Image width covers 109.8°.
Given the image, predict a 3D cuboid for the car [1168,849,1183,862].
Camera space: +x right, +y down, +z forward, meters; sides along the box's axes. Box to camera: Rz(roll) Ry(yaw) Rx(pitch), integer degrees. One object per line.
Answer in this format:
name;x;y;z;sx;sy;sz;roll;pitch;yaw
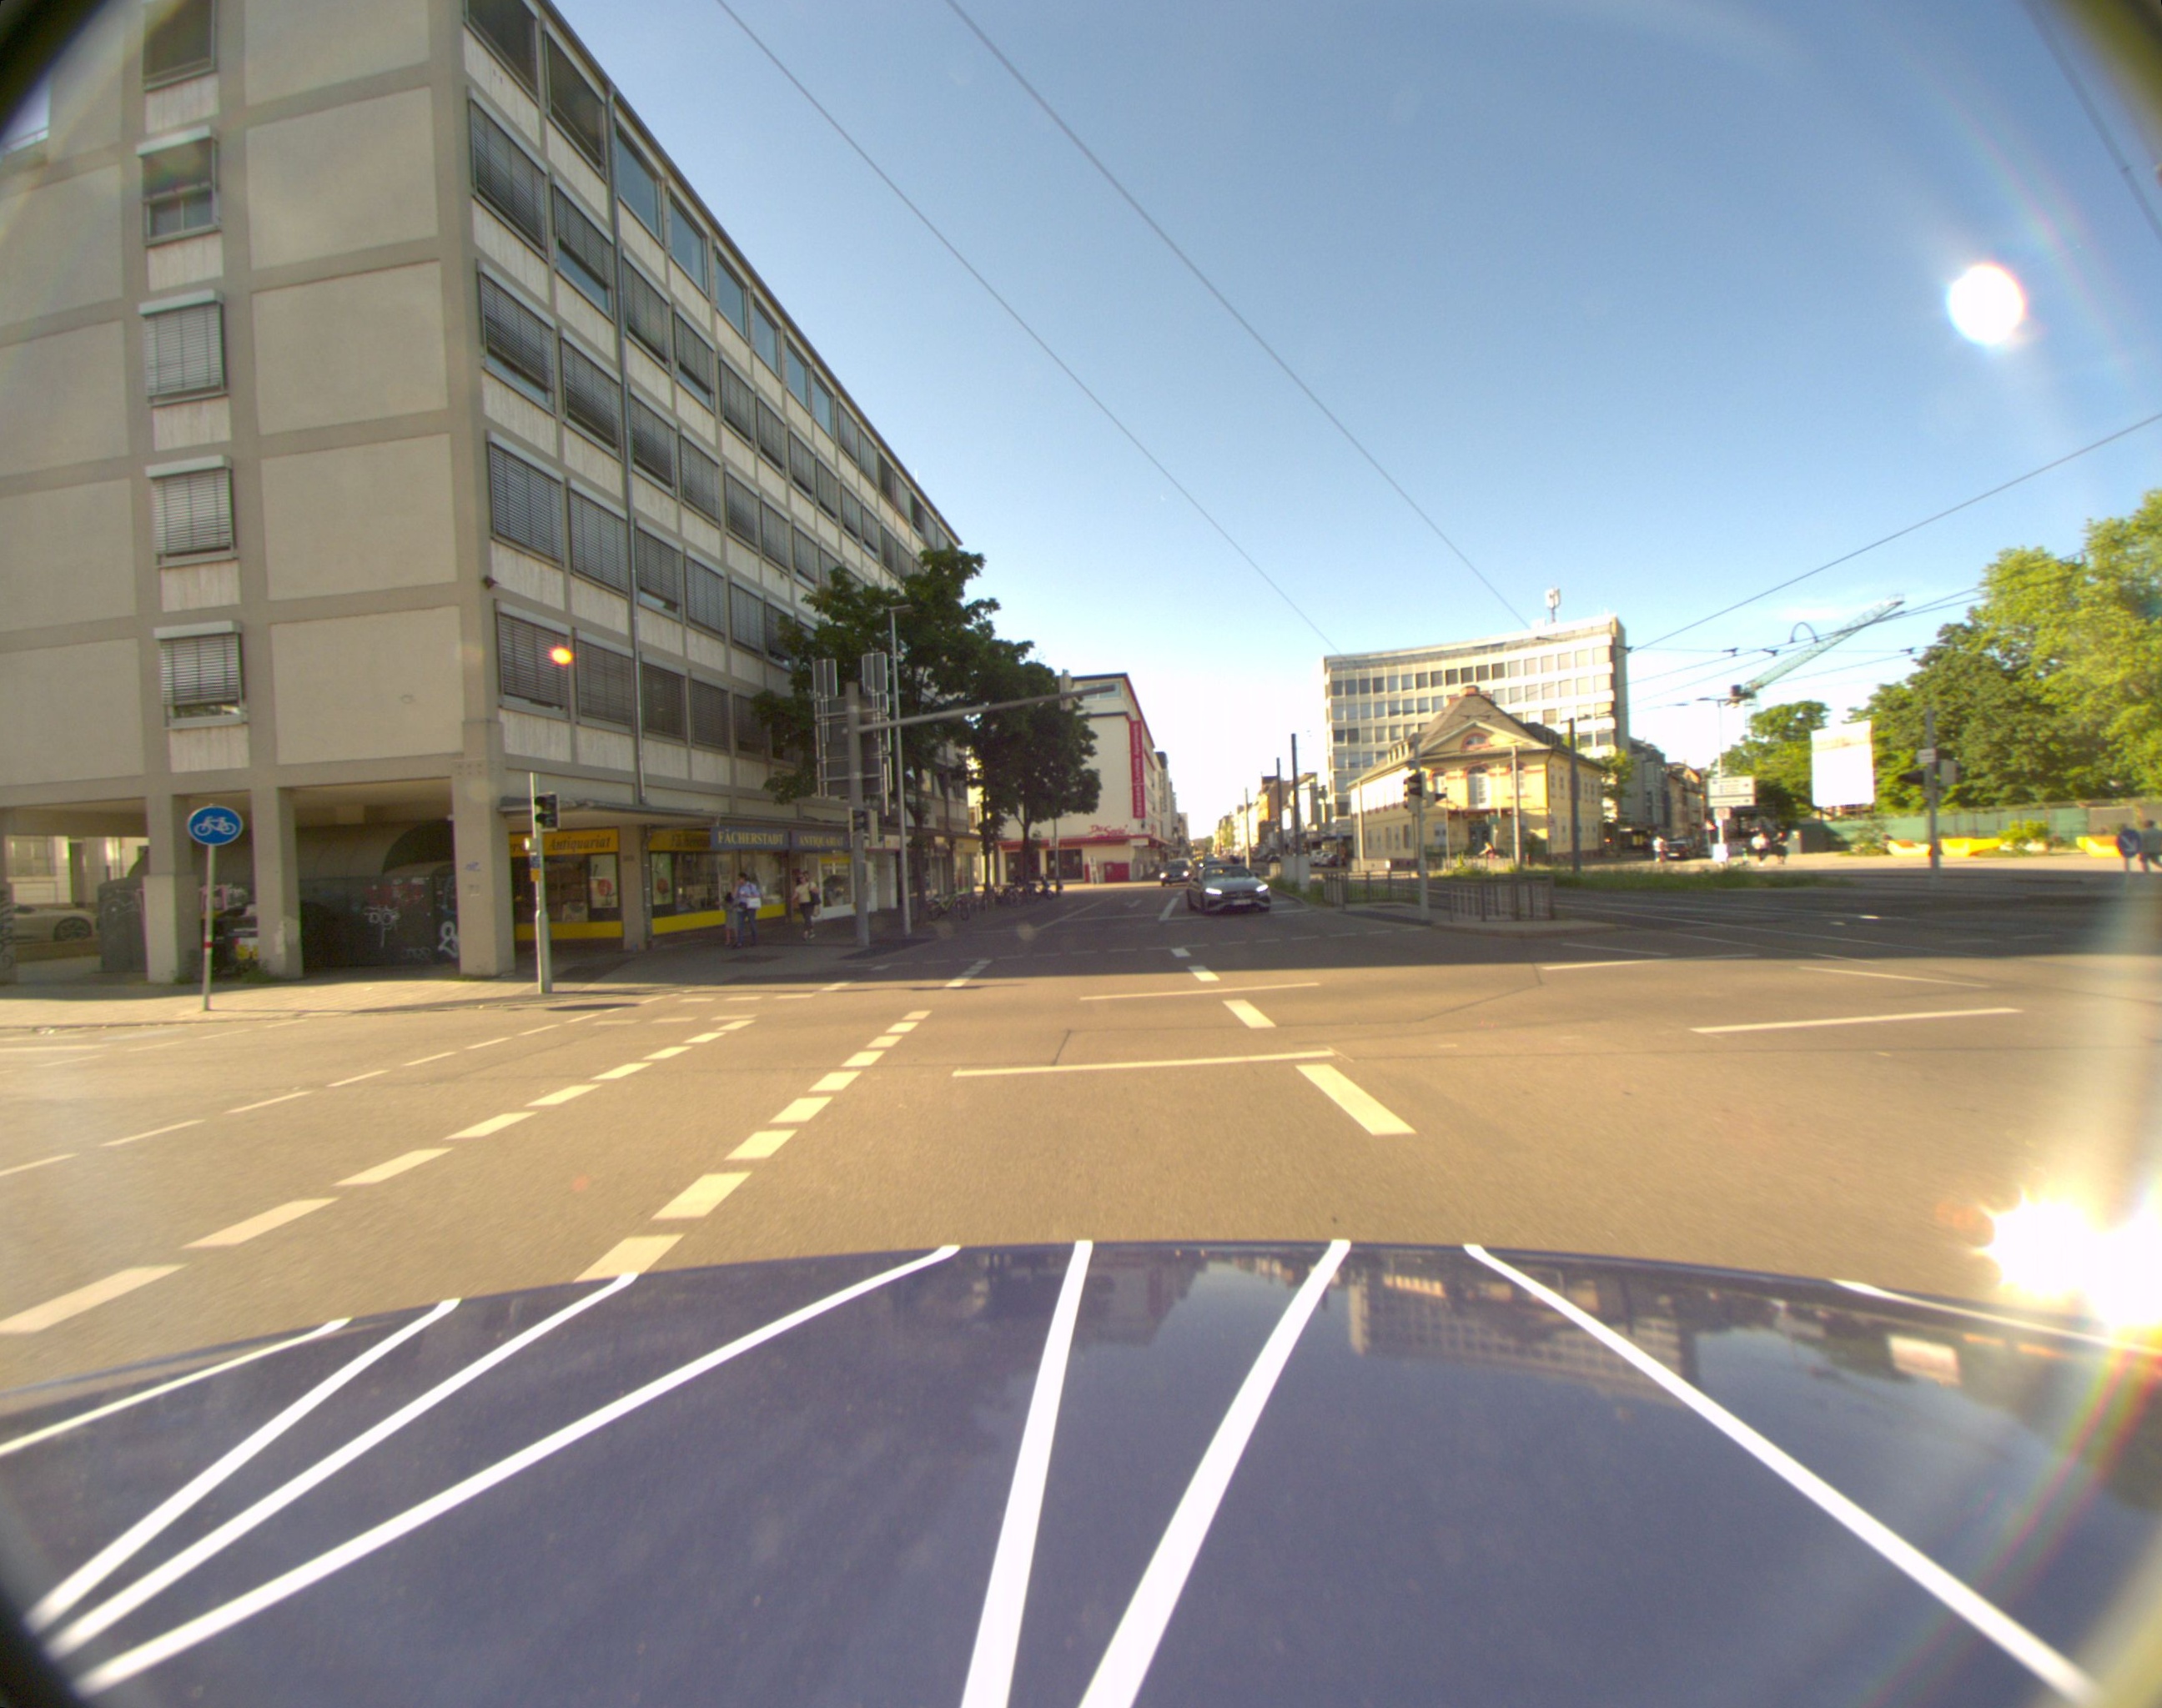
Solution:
car;12.268;0.167;98.407;1.782;1.653;4.166;-1;1;10

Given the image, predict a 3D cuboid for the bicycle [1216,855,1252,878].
bicycle;8.545;0.693;42.559;1.824;1.205;0.642;-3;1;1

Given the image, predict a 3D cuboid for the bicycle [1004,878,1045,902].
bicycle;-2.614;1.669;35.395;1.855;1.050;0.399;-1;1;0

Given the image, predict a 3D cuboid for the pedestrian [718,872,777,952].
pedestrian;-7.606;1.304;17.360;0.879;1.711;0.845;-3;1;0

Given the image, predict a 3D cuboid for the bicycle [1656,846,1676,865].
bicycle;35.268;0.082;45.828;0.650;1.007;1.888;-3;0;29

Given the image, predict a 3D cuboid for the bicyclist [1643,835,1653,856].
bicyclist;46.107;-0.709;61.752;0.521;1.663;0.771;-3;1;33

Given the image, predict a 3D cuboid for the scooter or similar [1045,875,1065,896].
scooter or similar;-1.362;1.654;39.744;0.957;1.033;0.160;-2;0;14

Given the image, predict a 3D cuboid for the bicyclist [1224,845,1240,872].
bicyclist;8.444;0.249;42.551;0.682;1.514;0.635;-3;1;1

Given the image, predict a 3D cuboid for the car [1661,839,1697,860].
car;44.199;-0.361;56.142;1.646;1.339;3.766;-3;0;45

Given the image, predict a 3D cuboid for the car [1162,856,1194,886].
car;5.954;0.987;46.241;1.736;1.653;3.964;-1;1;10

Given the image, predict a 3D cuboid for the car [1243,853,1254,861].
car;34.774;0.586;157.882;1.780;1.500;4.672;-1;0;8

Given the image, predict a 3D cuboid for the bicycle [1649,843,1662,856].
bicycle;49.992;-0.391;66.124;1.888;1.007;0.530;-3;1;-44

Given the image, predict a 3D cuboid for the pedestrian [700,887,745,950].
pedestrian;-8.504;1.515;18.035;0.646;1.414;0.621;-3;1;12

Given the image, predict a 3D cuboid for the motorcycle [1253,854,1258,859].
motorcycle;34.835;0.478;151.569;0.601;0.921;2.156;-3;0;0

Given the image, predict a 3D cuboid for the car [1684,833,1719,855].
car;51.926;-0.879;63.551;3.763;1.660;1.797;-3;0;-44

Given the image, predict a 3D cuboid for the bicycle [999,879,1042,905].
bicycle;-2.659;1.657;33.514;1.769;1.051;0.458;-3;1;16

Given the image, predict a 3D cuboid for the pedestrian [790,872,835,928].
pedestrian;-8.048;1.366;22.789;0.844;1.593;0.880;-3;1;11

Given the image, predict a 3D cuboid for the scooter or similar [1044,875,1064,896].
scooter or similar;-1.398;1.637;39.546;0.965;1.021;0.160;-2;0;14

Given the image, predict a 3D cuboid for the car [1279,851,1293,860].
car;34.859;0.164;129.511;1.785;1.408;3.599;-3;0;7

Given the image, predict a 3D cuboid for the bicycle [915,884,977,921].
bicycle;-4.371;1.584;24.649;1.893;1.150;0.481;-1;1;11

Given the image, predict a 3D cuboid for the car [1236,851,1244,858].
car;37.141;0.180;177.540;1.780;1.500;3.863;-1;0;8

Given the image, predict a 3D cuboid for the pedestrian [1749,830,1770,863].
pedestrian;38.018;-0.432;42.570;0.594;1.806;0.706;-3;1;21

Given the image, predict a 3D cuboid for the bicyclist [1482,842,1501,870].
bicyclist;24.365;0.112;45.123;0.591;1.640;0.804;-3;2;-38

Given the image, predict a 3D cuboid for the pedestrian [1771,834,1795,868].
pedestrian;38.981;-0.177;42.216;0.705;1.840;0.741;-3;1;21

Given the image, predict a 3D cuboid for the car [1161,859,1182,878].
car;8.491;1.332;70.967;1.780;1.560;3.964;-1;1;10

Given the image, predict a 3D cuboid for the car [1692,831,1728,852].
car;55.510;-1.091;67.064;3.763;1.660;1.798;-3;0;-41

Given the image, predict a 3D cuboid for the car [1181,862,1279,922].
car;4.286;1.037;22.668;1.869;1.430;4.773;-3;0;-1

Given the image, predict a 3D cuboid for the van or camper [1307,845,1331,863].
van or camper;29.140;-0.008;93.107;1.958;1.961;4.800;-4;0;8

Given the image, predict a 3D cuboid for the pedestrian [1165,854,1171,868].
pedestrian;11.849;0.992;103.057;0.737;1.807;0.749;-3;1;7

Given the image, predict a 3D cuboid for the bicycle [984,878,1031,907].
bicycle;-3.049;1.592;31.517;1.813;1.145;0.435;-2;1;7

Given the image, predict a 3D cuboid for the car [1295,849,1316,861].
car;31.282;0.116;106.061;1.930;1.444;4.295;-4;0;5

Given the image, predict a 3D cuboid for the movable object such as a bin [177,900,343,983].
movable object such as a bin;-16.708;1.758;15.518;1.913;1.461;1.453;-2;1;12

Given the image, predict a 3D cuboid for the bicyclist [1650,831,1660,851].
bicyclist;49.884;-1.105;66.064;0.772;1.663;0.521;-4;1;-44

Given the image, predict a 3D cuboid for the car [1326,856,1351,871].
car;27.635;0.973;81.612;1.780;1.430;3.964;-4;0;10

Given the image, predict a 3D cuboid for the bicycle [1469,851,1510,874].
bicycle;24.310;0.525;45.243;0.576;1.283;2.022;-4;1;-38

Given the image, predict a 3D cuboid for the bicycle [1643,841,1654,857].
bicycle;46.098;-0.385;61.713;0.530;1.207;1.888;-3;0;33

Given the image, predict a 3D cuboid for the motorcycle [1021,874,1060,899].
motorcycle;-1.994;1.598;37.506;1.790;1.123;0.504;-3;1;11

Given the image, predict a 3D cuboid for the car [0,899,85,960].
car;-30.055;2.135;20.132;1.800;1.549;4.027;-3;0;5

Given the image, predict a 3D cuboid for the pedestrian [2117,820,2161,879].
pedestrian;30.880;-0.118;22.021;0.626;1.678;0.706;-3;-1;-1

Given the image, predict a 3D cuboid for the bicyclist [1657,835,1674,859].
bicyclist;35.308;-0.419;45.924;0.664;1.445;0.732;-3;1;27

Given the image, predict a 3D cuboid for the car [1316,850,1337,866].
car;28.194;0.411;87.411;1.780;1.611;4.179;-4;0;12

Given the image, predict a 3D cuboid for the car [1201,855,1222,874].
car;12.269;0.926;71.448;1.782;1.653;3.964;-1;1;10

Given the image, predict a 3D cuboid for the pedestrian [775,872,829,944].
pedestrian;-7.010;1.347;19.134;0.844;1.697;0.880;-3;1;11

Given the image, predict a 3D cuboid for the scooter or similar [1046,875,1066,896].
scooter or similar;-1.316;1.648;39.937;0.965;1.037;0.160;-2;0;14

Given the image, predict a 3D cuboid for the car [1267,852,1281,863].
car;29.295;0.507;115.422;1.688;1.551;4.125;-3;0;9

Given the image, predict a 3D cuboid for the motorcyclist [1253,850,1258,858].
motorcyclist;34.777;-0.072;151.473;0.654;1.549;0.884;-3;1;0
